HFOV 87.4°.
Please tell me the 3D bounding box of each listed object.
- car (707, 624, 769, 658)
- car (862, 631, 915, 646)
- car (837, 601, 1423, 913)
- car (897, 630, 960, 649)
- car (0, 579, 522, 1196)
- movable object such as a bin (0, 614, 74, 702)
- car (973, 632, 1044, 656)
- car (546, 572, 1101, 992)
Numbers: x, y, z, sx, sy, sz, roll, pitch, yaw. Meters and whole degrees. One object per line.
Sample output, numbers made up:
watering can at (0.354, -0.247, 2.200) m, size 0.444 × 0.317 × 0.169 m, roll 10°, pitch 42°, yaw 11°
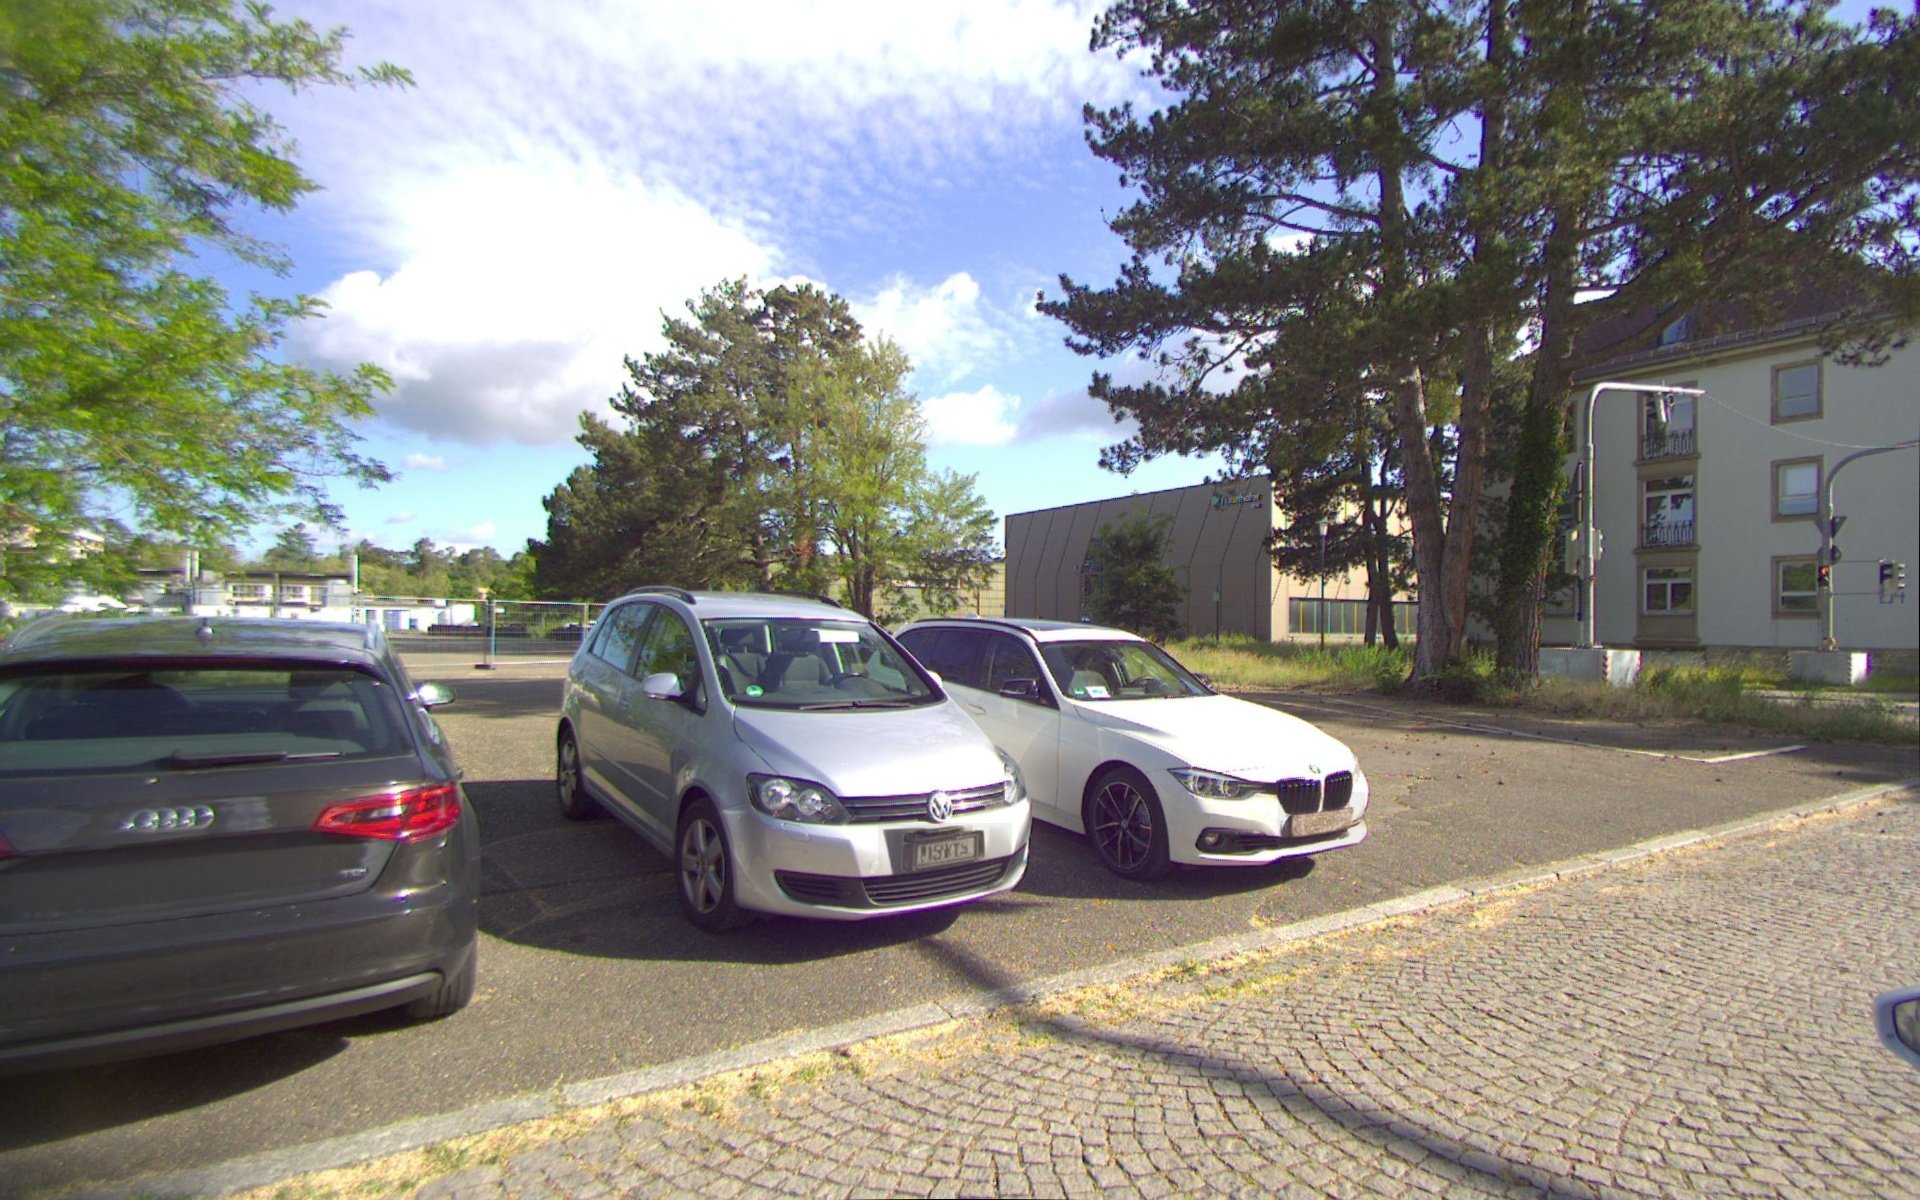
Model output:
car at (-9.862, 1.795, 44.452) m, size 1.726 × 1.388 × 3.595 m, roll 1°, pitch -2°, yaw -29°
car at (-5.222, 2.817, 73.130) m, size 3.634 × 1.090 × 1.399 m, roll 1°, pitch -2°, yaw -29°
car at (0.876, 0.838, 7.599) m, size 1.734 × 1.487 × 4.512 m, roll 1°, pitch 1°, yaw -34°
car at (-2.077, 2.624, 66.592) m, size 3.951 × 1.221 × 1.481 m, roll 1°, pitch -2°, yaw -29°
car at (-3.119, 0.719, 4.345) m, size 1.669 × 1.490 × 3.775 m, roll 2°, pitch 1°, yaw -32°
movable object such as a bin at (-12.936, 0.748, 13.637) m, size 0.987 × 1.122 × 2.265 m, roll 1°, pitch -2°, yaw -33°
car at (2.859, 2.564, 58.701) m, size 4.002 × 1.311 × 1.480 m, roll 2°, pitch -2°, yaw -30°
car at (-1.138, 0.708, 6.127) m, size 1.705 × 1.648 × 3.916 m, roll 2°, pitch 1°, yaw -35°
